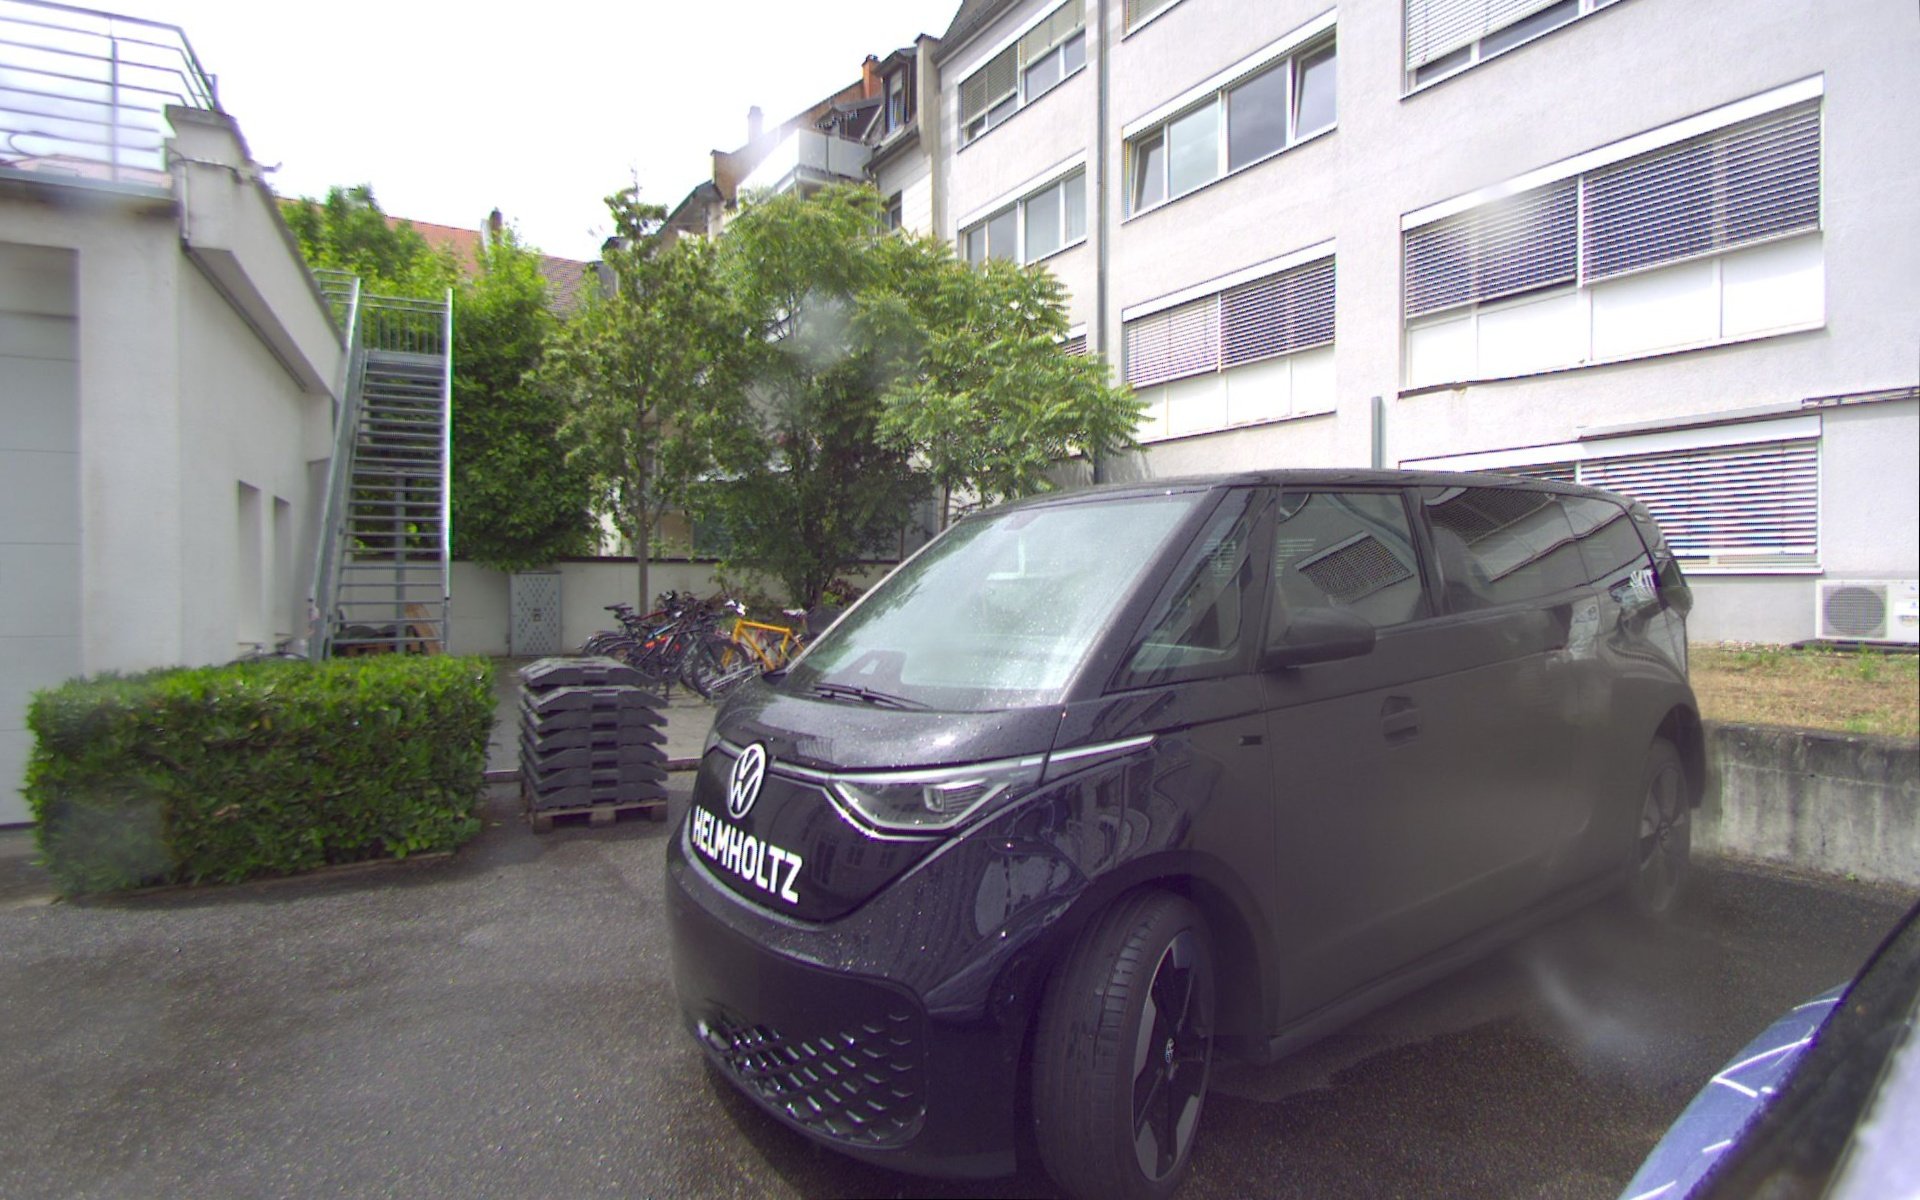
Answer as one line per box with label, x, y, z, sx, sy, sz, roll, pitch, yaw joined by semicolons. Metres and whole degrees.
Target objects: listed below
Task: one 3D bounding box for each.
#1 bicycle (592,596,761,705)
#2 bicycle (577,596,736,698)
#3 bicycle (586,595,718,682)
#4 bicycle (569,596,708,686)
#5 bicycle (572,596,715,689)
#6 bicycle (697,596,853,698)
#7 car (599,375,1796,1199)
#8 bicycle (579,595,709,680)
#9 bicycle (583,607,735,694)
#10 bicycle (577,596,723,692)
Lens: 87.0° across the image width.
bicycle;-3.122;0.531;11.219;1.759;1.117;0.406;0;1;-25
bicycle;-3.554;0.526;11.905;1.759;1.117;0.355;0;1;-25
bicycle;-4.255;0.507;14.035;1.721;1.117;0.355;-1;1;-33
bicycle;-4.243;0.514;13.428;1.721;1.117;0.346;-1;1;-33
bicycle;-4.042;0.519;12.989;1.721;1.117;0.343;-1;1;-33
bicycle;-2.149;0.521;11.826;1.759;1.117;0.368;0;1;-25
car;1.237;0.443;4.011;4.658;1.888;1.971;-2;1;-34
bicycle;-4.453;0.506;14.332;1.721;1.117;0.342;-1;1;-33
bicycle;-3.664;0.591;12.398;1.762;0.979;0.330;-1;1;-33
bicycle;-3.859;0.520;12.681;1.721;1.117;0.333;-1;1;-33
